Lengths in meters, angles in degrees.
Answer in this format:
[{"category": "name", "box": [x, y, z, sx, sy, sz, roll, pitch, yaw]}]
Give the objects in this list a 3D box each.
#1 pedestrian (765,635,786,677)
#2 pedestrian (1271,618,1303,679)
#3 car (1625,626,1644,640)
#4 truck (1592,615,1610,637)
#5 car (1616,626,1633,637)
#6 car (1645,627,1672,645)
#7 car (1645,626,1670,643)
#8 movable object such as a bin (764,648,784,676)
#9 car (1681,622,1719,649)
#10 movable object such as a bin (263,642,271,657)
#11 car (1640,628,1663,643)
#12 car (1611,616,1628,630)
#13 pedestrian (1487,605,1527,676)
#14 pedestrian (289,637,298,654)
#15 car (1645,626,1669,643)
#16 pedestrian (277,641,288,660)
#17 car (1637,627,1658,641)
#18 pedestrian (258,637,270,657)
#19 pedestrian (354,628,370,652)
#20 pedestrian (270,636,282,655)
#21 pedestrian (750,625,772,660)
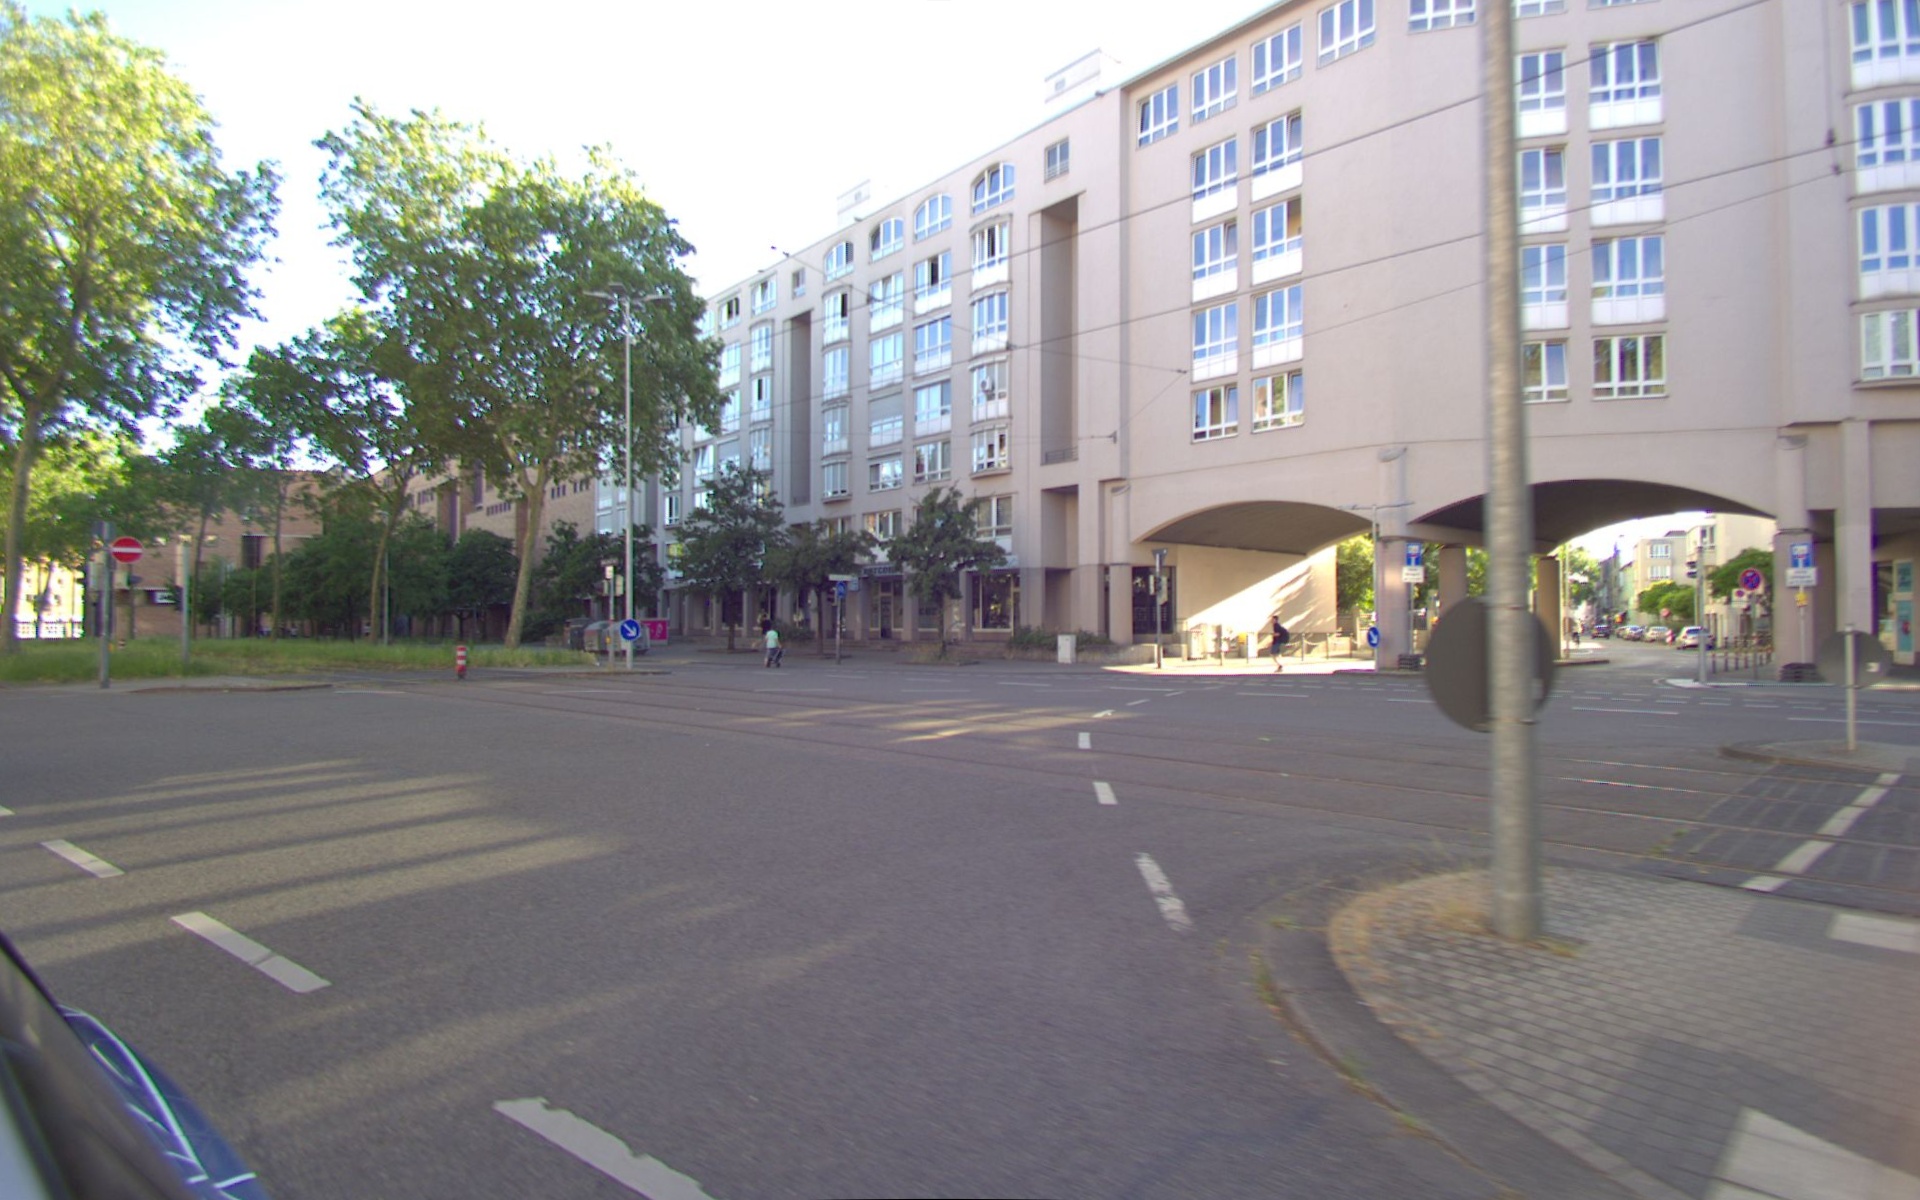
[{"category": "pedestrian", "box": [-6.724, 2.024, 36.877, 0.530, 1.515, 0.616, -2, -2, 20]}, {"category": "pedestrian", "box": [10.143, 1.496, 31.405, 0.749, 1.884, 0.849, -2, -2, 31]}, {"category": "car", "box": [71.645, 3.488, 107.497, 1.681, 1.406, 3.612, -2, -2, 34]}, {"category": "truck", "box": [100.333, 4.022, 158.389, 2.181, 3.359, 6.538, -2, -2, 32]}, {"category": "car", "box": [85.299, 3.997, 129.906, 1.680, 1.406, 3.614, -2, -2, 32]}, {"category": "car", "box": [55.352, 2.842, 80.216, 1.681, 1.406, 3.612, -2, -2, 34]}, {"category": "car", "box": [60.360, 3.006, 87.557, 1.681, 1.406, 3.612, -2, -2, 34]}, {"category": "movable object such as a bin", "box": [-6.674, 2.215, 36.226, 0.503, 0.960, 0.540, 1, -2, -39]}, {"category": "car", "box": [48.740, 2.311, 66.609, 1.896, 1.742, 3.608, -2, -2, 37]}, {"category": "movable object such as a bin", "box": [-59.735, 4.263, 87.242, 0.755, 1.289, 0.352, -2, -2, 38]}, {"category": "car", "box": [65.632, 3.376, 96.062, 1.681, 1.406, 3.612, -2, -2, 34]}, {"category": "car", "box": [91.116, 3.132, 139.795, 1.812, 1.854, 3.956, -1, -2, 32]}, {"category": "pedestrian", "box": [16.064, 1.190, 29.731, 0.881, 2.029, 0.831, -2, -2, 22]}, {"category": "pedestrian", "box": [-58.842, 4.030, 89.339, 0.460, 1.517, 0.481, -2, -2, 19]}, {"category": "car", "box": [62.655, 3.099, 91.007, 1.681, 1.406, 3.612, -2, -2, 34]}, {"category": "pedestrian", "box": [-59.579, 4.434, 88.967, 0.595, 1.692, 0.605, -2, -2, 37]}, {"category": "car", "box": [69.364, 3.405, 102.137, 1.681, 1.406, 3.612, -2, -2, 34]}, {"category": "pedestrian", "box": [-60.342, 4.061, 87.747, 0.795, 1.735, 0.658, -2, -2, 37]}, {"category": "pedestrian", "box": [-46.286, 3.064, 78.362, 0.900, 1.845, 0.816, -3, -2, 39]}, {"category": "pedestrian", "box": [-59.851, 3.978, 88.582, 0.755, 1.629, 0.658, -2, -2, 37]}, {"category": "pedestrian", "box": [-9.479, 2.024, 48.143, 0.698, 1.651, 0.789, 1, -2, -41]}]
